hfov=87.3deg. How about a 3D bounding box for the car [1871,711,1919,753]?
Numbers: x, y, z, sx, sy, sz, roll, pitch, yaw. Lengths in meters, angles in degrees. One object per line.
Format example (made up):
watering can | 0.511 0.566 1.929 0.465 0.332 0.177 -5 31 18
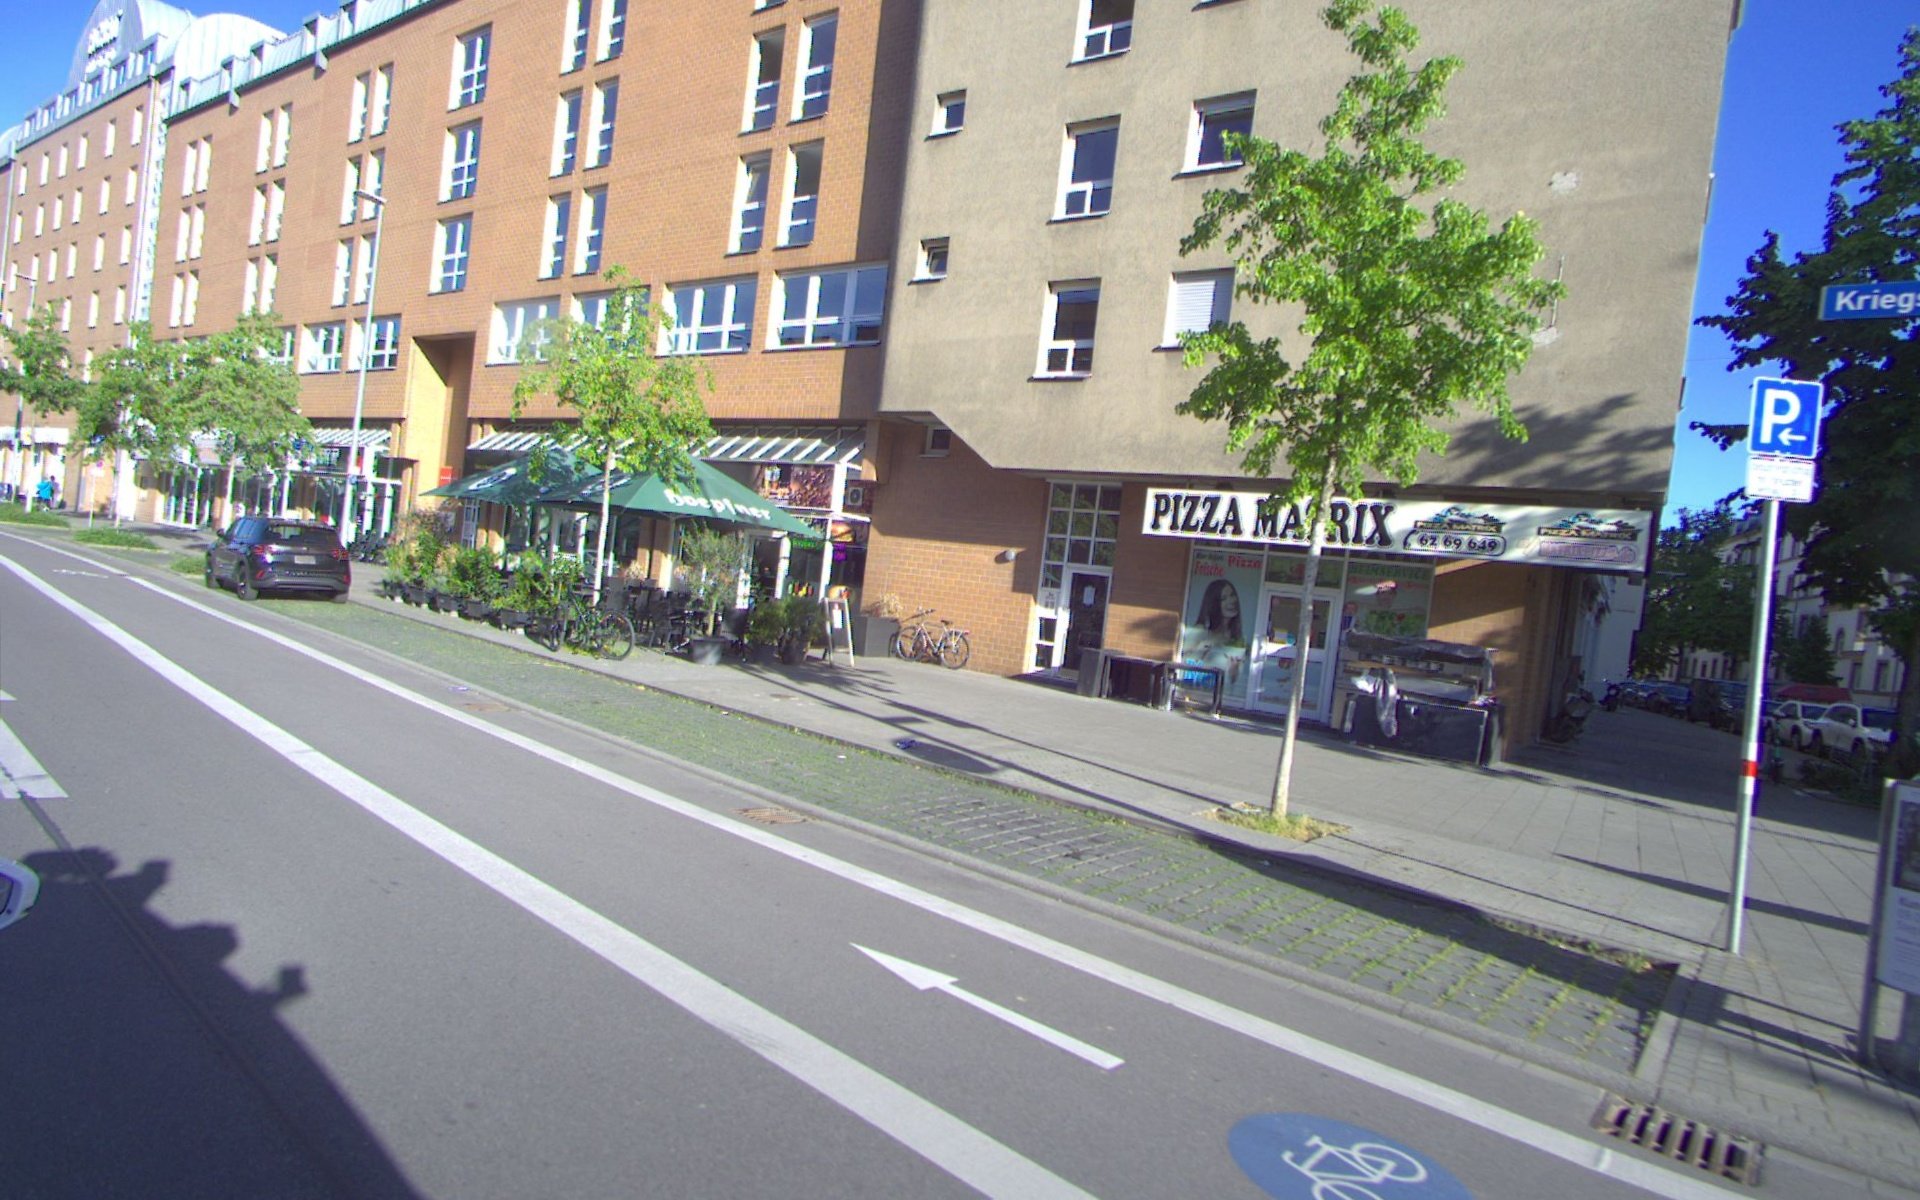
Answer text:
car | 40.092 5.611 40.998 3.929 1.452 1.695 8 -1 27

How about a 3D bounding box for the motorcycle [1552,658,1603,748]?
motorcycle | 12.361 2.043 20.188 0.642 1.627 2.261 8 1 31

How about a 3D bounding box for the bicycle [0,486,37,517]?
bicycle | -36.386 -3.792 38.164 1.935 1.035 0.496 6 2 -39

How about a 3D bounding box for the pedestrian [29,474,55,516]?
pedestrian | -43.389 -4.967 47.545 0.736 1.844 0.606 8 1 34

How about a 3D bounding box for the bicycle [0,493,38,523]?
bicycle | -36.734 -3.592 38.595 1.935 0.982 0.548 6 2 -39

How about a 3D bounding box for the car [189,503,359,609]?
car | -13.764 -0.917 20.090 4.171 1.658 1.718 7 1 41

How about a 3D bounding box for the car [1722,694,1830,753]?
car | 27.953 4.189 34.591 1.761 1.607 4.000 8 -1 25

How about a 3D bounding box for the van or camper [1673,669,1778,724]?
van or camper | 49.492 6.238 65.149 4.797 2.751 1.821 8 -1 22

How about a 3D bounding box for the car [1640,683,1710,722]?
car | 34.096 4.878 48.088 1.752 1.525 4.001 8 -1 23

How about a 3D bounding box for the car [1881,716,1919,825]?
car | 14.985 2.599 13.324 3.669 1.472 1.636 8 -1 28

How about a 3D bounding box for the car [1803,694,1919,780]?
car | 23.909 3.536 26.016 1.964 1.720 4.392 8 1 25

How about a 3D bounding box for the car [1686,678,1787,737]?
car | 29.723 4.093 38.666 1.897 1.820 4.181 8 -1 23

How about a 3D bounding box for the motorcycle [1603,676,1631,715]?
motorcycle | 24.925 3.610 38.208 0.642 1.338 2.261 8 1 31

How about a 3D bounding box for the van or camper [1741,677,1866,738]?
van or camper | 47.148 5.963 56.362 4.797 2.558 1.821 8 -1 22

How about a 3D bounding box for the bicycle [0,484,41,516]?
bicycle | -37.149 -3.930 39.165 1.939 1.089 0.547 6 2 -45

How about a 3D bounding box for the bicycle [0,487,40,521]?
bicycle | -37.523 -3.821 39.550 1.939 1.152 0.484 5 2 -45

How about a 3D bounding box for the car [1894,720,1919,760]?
car | 38.710 5.656 38.462 3.929 1.452 1.695 8 -1 27

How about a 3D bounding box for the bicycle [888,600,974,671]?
bicycle | -0.581 0.697 19.905 1.511 1.185 0.614 8 3 31

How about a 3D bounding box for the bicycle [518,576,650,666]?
bicycle | -5.574 0.275 14.880 1.965 1.097 0.764 6 5 31

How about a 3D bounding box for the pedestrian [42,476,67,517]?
pedestrian | -43.826 -5.020 48.689 0.736 1.844 0.606 8 1 34

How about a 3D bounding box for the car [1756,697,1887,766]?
car | 25.833 3.893 30.328 1.793 1.659 4.000 8 -1 25
